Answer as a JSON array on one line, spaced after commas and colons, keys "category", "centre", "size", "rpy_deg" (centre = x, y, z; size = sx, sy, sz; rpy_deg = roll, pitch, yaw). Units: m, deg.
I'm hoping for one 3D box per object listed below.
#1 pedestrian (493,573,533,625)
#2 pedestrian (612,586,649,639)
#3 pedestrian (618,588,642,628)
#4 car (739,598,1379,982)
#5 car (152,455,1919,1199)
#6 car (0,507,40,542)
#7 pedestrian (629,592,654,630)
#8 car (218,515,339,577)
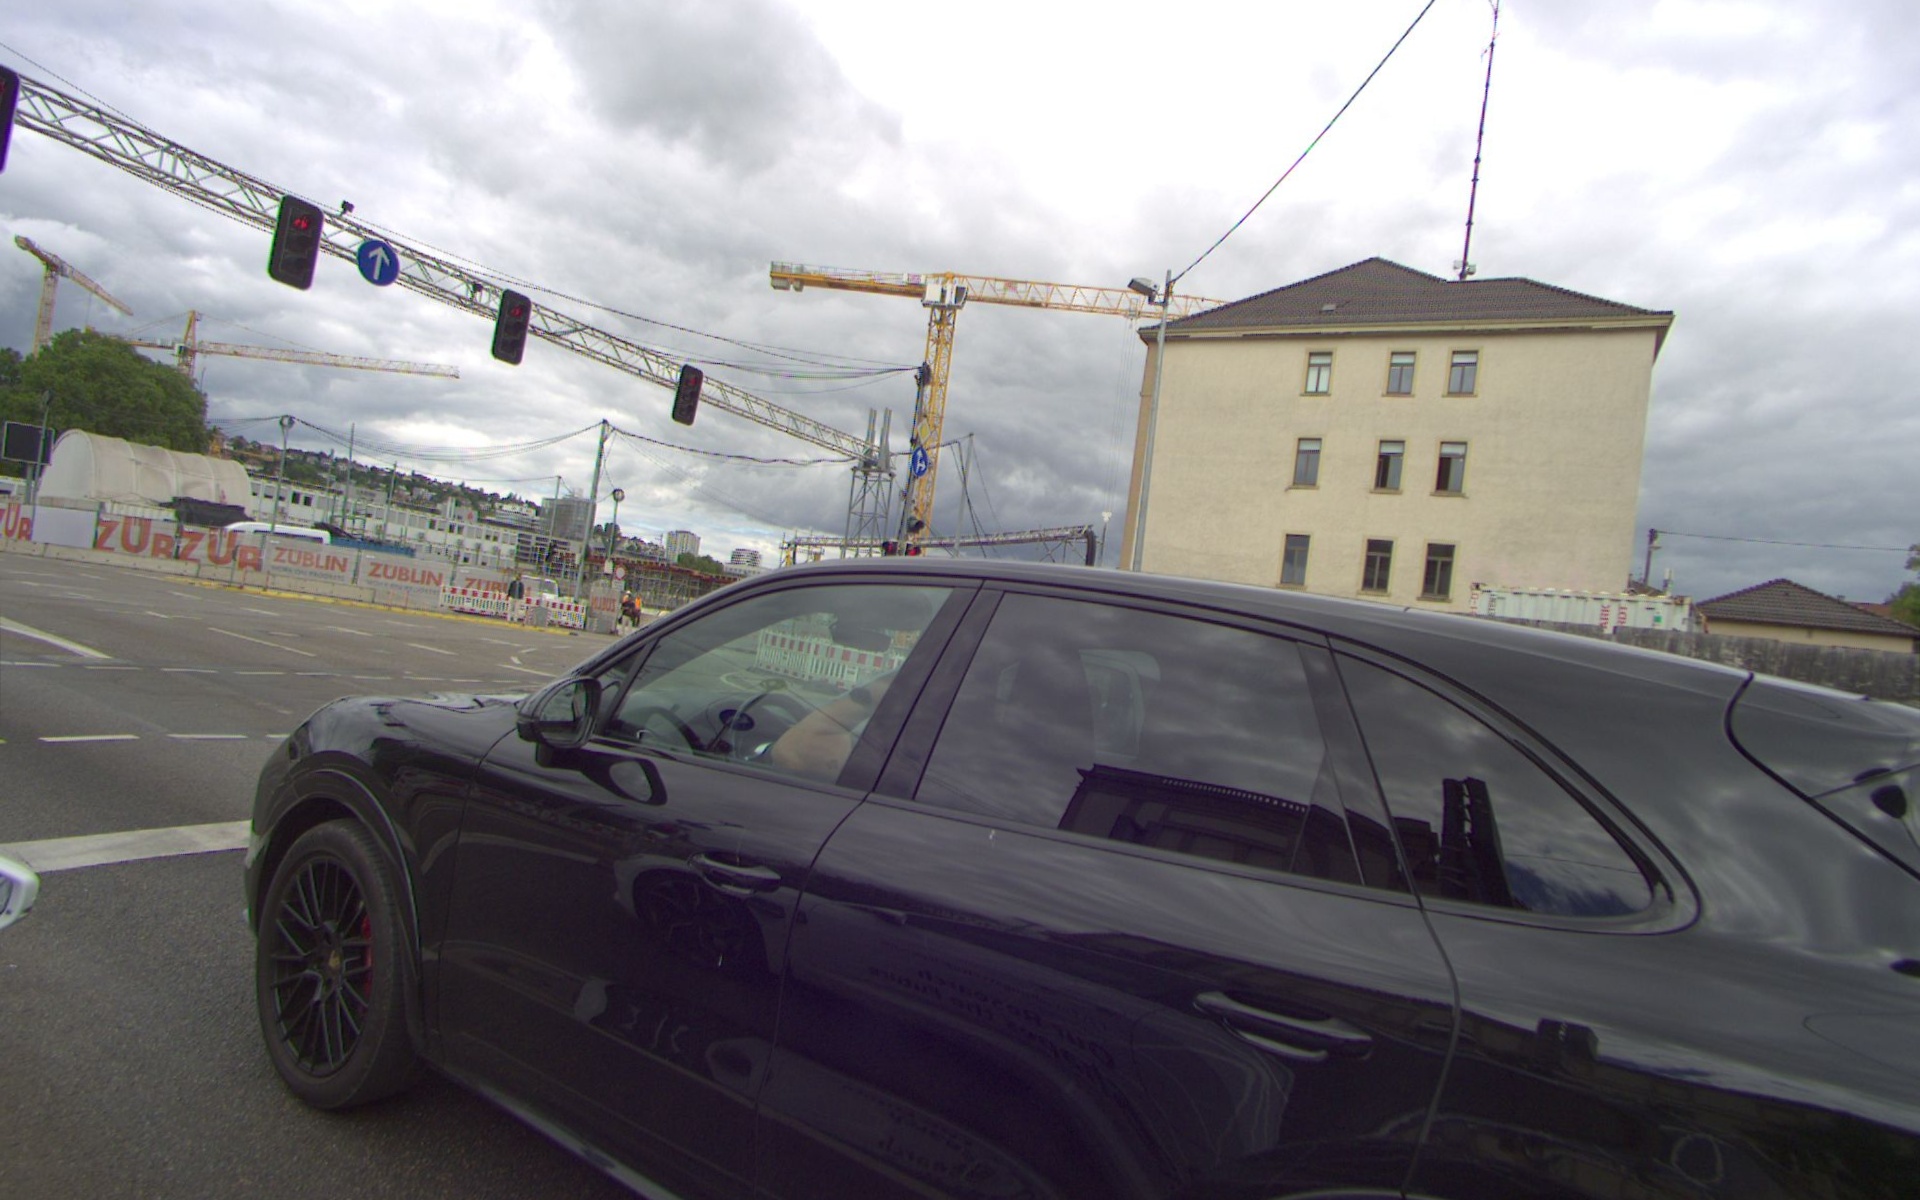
[{"category": "pedestrian", "centre": [-17.423, -0.052, 39.206], "size": [1.040, 1.869, 0.781], "rpy_deg": [8, -1, -42]}, {"category": "pedestrian", "centre": [-13.550, 0.535, 41.412], "size": [1.028, 2.037, 1.033], "rpy_deg": [7, -1, -8]}, {"category": "pedestrian", "centre": [-17.644, 0.444, 53.830], "size": [0.855, 2.037, 0.677], "rpy_deg": [6, -1, 44]}, {"category": "car", "centre": [0.577, 0.996, 6.557], "size": [3.587, 1.527, 1.825], "rpy_deg": [6, -2, 33]}, {"category": "car", "centre": [-0.005, 0.687, 2.721], "size": [4.505, 1.687, 1.996], "rpy_deg": [6, -2, 34]}, {"category": "car", "centre": [-55.353, -4.496, 56.883], "size": [1.872, 1.743, 4.606], "rpy_deg": [7, -2, 9]}, {"category": "pedestrian", "centre": [-17.308, 0.621, 54.657], "size": [0.850, 1.938, 0.680], "rpy_deg": [7, -1, 26]}, {"category": "car", "centre": [-29.529, -2.326, 43.647], "size": [3.976, 2.037, 1.976], "rpy_deg": [9, -2, -43]}]
